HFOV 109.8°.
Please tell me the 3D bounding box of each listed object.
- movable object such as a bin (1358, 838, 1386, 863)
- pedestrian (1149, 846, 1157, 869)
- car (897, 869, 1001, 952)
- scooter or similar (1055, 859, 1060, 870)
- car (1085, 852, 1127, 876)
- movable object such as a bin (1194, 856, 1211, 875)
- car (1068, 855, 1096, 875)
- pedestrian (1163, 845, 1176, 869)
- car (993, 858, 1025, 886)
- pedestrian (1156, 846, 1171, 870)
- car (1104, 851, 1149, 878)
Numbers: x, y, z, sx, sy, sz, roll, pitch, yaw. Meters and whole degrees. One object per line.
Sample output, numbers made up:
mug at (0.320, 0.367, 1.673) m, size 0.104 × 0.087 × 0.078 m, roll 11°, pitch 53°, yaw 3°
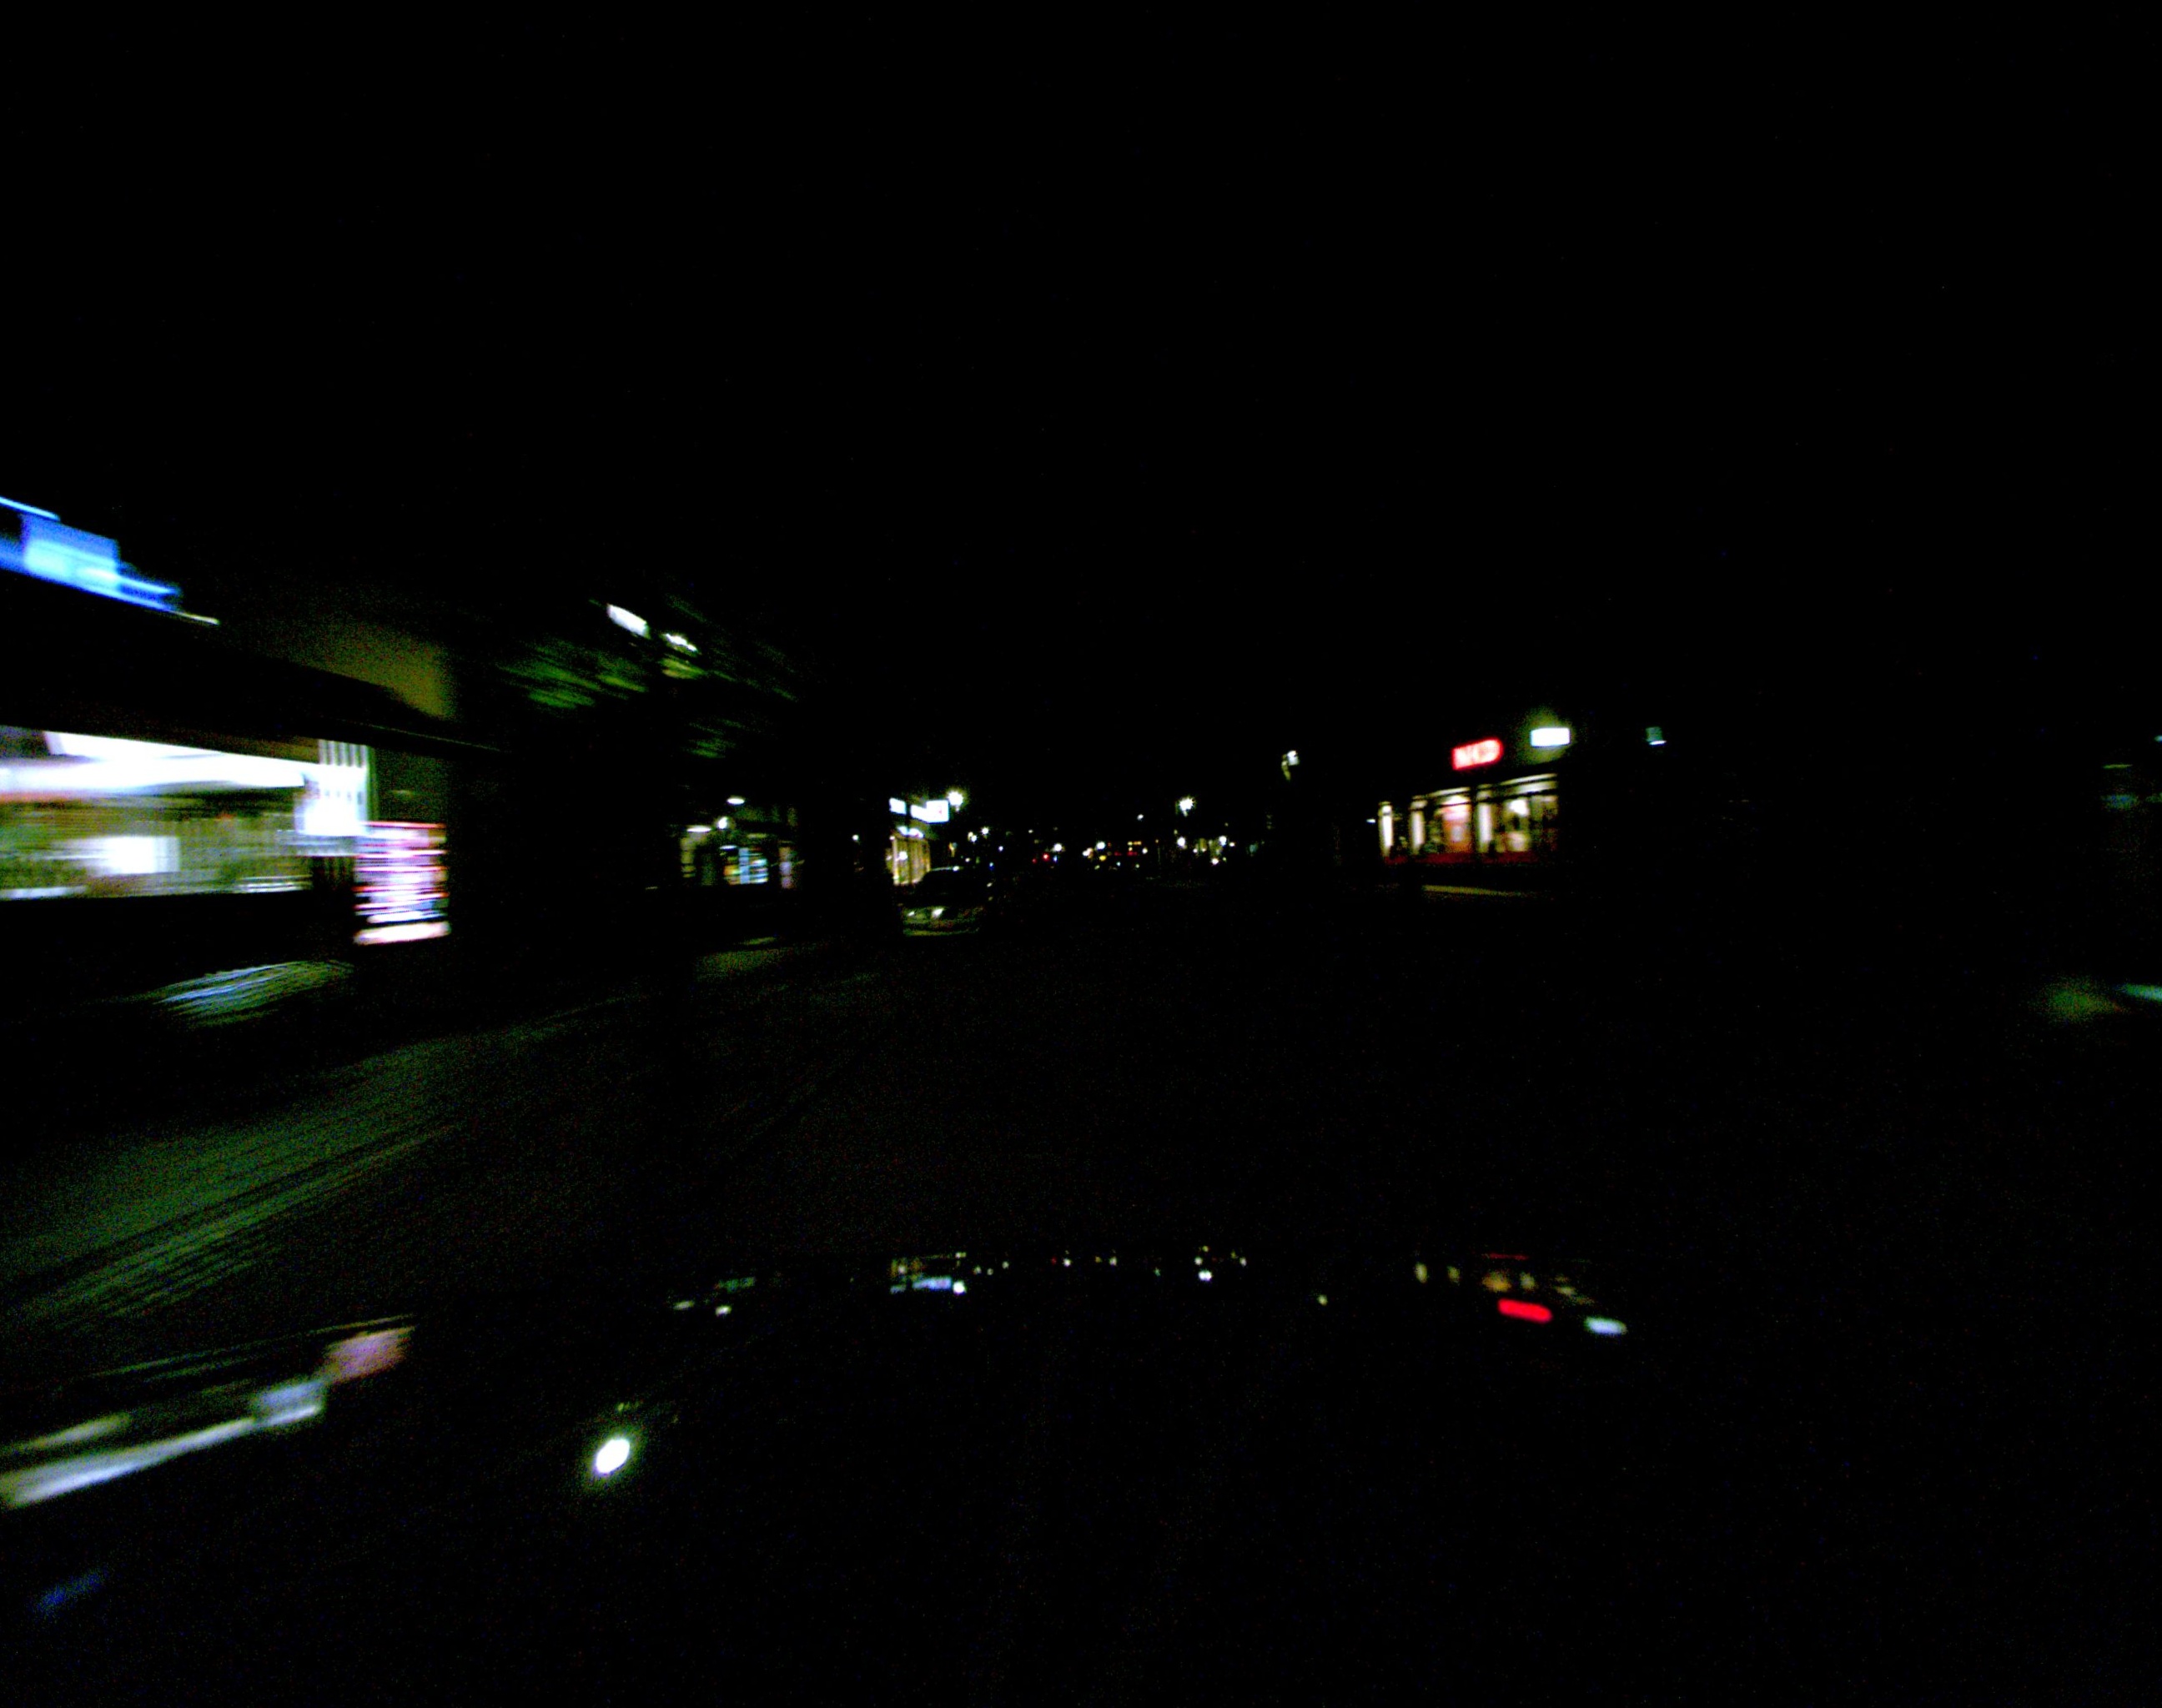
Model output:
movable object such as a bin at (17.354, -0.198, 45.327) m, size 1.040 × 1.436 × 1.285 m, roll -3°, pitch 1°, yaw -8°
pedestrian at (5.648, 0.266, 59.250) m, size 0.502 × 1.811 × 0.504 m, roll -2°, pitch 2°, yaw 13°
car at (-2.690, 1.089, 16.421) m, size 1.739 × 1.432 × 4.495 m, roll -2°, pitch 0°, yaw -4°
scooter or similar at (-2.799, 1.227, 91.337) m, size 0.318 × 1.280 × 1.448 m, roll -3°, pitch 0°, yaw -9°
car at (1.779, 0.724, 55.801) m, size 1.912 × 1.533 × 4.777 m, roll -3°, pitch 0°, yaw -12°
movable object such as a bin at (7.191, 0.668, 44.991) m, size 0.749 × 1.059 × 0.791 m, roll -2°, pitch 1°, yaw -10°
car at (0.023, 0.925, 66.854) m, size 1.776 × 1.565 × 4.479 m, roll -3°, pitch 1°, yaw -8°
pedestrian at (6.849, 0.217, 58.828) m, size 0.793 × 1.807 × 1.024 m, roll -4°, pitch 1°, yaw 14°
car at (-4.368, 1.036, 45.823) m, size 1.747 × 1.479 × 4.632 m, roll -2°, pitch 1°, yaw -7°
pedestrian at (6.447, 0.280, 59.379) m, size 0.879 × 1.821 × 0.791 m, roll -4°, pitch 1°, yaw 16°
car at (2.931, 0.694, 50.098) m, size 1.765 × 1.627 × 4.811 m, roll -2°, pitch 0°, yaw -11°
